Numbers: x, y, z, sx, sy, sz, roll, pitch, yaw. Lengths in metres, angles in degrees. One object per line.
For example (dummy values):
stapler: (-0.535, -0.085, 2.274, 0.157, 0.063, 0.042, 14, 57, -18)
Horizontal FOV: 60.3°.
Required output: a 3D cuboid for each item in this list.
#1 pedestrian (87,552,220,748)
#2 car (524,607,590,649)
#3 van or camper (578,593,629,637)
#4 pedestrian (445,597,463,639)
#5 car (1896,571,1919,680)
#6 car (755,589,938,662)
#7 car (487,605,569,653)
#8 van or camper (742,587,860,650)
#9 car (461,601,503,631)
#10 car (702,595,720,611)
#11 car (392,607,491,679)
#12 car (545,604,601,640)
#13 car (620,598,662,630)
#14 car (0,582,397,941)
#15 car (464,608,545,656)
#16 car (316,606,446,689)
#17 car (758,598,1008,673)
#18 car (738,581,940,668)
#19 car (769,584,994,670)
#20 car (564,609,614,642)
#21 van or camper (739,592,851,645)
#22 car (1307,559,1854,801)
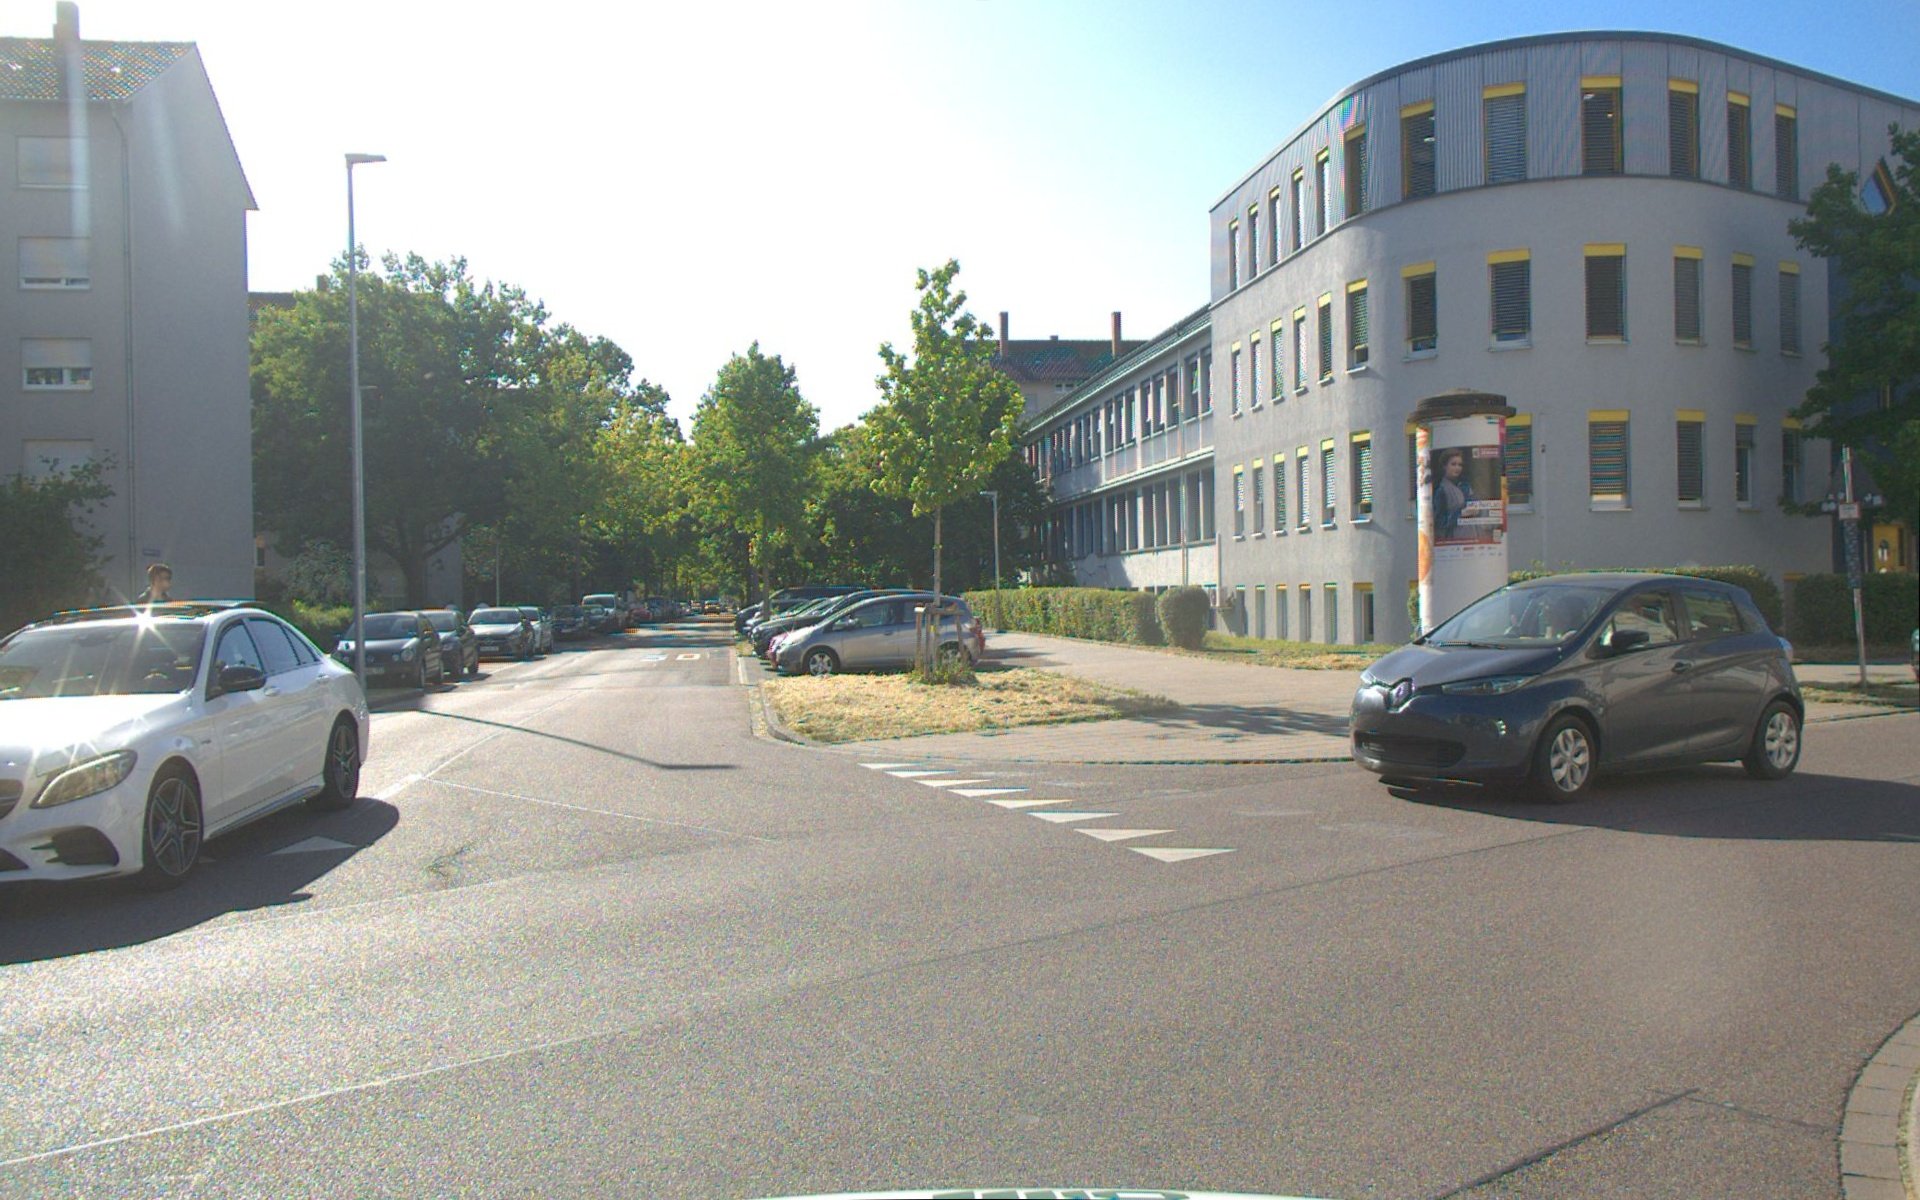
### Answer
pedestrian: (-7.504, 0.448, 15.433, 0.855, 1.744, 0.977, -1, 0, -11)
car: (-14.390, 0.977, 59.201, 1.808, 1.422, 3.994, -1, -1, -7)
van or camper: (-17.554, 0.761, 81.574, 1.955, 2.049, 3.995, 1, -1, -5)
pedestrian: (-21.003, 0.746, 68.657, 0.623, 1.693, 0.697, -1, 0, -13)
car: (14.605, 0.298, 22.405, 4.175, 1.435, 1.772, -1, 1, -36)
car: (-2.711, 0.612, 39.010, 4.127, 1.624, 1.995, 1, -1, -10)
car: (-13.513, 0.901, 51.935, 1.956, 1.422, 3.994, -1, -1, -7)
van or camper: (-5.456, 0.646, 56.522, 3.912, 2.049, 1.996, 1, -1, -9)
car: (-20.777, 0.675, 71.910, 1.249, 1.246, 2.660, -1, 0, -6)
car: (-29.340, 0.364, 195.014, 1.956, 1.778, 3.993, -1, 0, -8)
car: (-11.258, 0.891, 36.098, 1.379, 1.400, 3.993, -1, 0, -8)
car: (-15.815, 0.897, 67.719, 1.957, 1.432, 3.898, 1, -1, -10)
car: (-20.954, 0.928, 108.748, 1.953, 2.049, 3.999, 1, -1, 0)
car: (-4.981, 0.759, 10.001, 1.849, 1.530, 4.634, -2, 2, -5)
car: (-12.654, 0.884, 46.130, 1.598, 1.255, 4.185, 1, -1, -7)
car: (-10.892, 0.868, 31.353, 1.636, 1.445, 3.991, 1, -1, -10)
car: (-1.567, 0.687, 33.106, 4.784, 1.296, 1.723, -2, 0, -12)
car: (-2.685, 0.547, 36.170, 4.201, 1.795, 1.995, 1, -1, -10)
car: (-1.507, 0.494, 31.060, 4.015, 1.518, 1.724, 0, -1, -11)
car: (-16.900, 1.144, 75.484, 1.808, 1.422, 3.994, -1, -1, -7)
van or camper: (-5.942, 0.674, 59.344, 3.912, 1.803, 1.996, 1, -1, -9)
car: (4.704, 0.510, 12.373, 4.087, 1.530, 1.821, 0, 0, -34)
